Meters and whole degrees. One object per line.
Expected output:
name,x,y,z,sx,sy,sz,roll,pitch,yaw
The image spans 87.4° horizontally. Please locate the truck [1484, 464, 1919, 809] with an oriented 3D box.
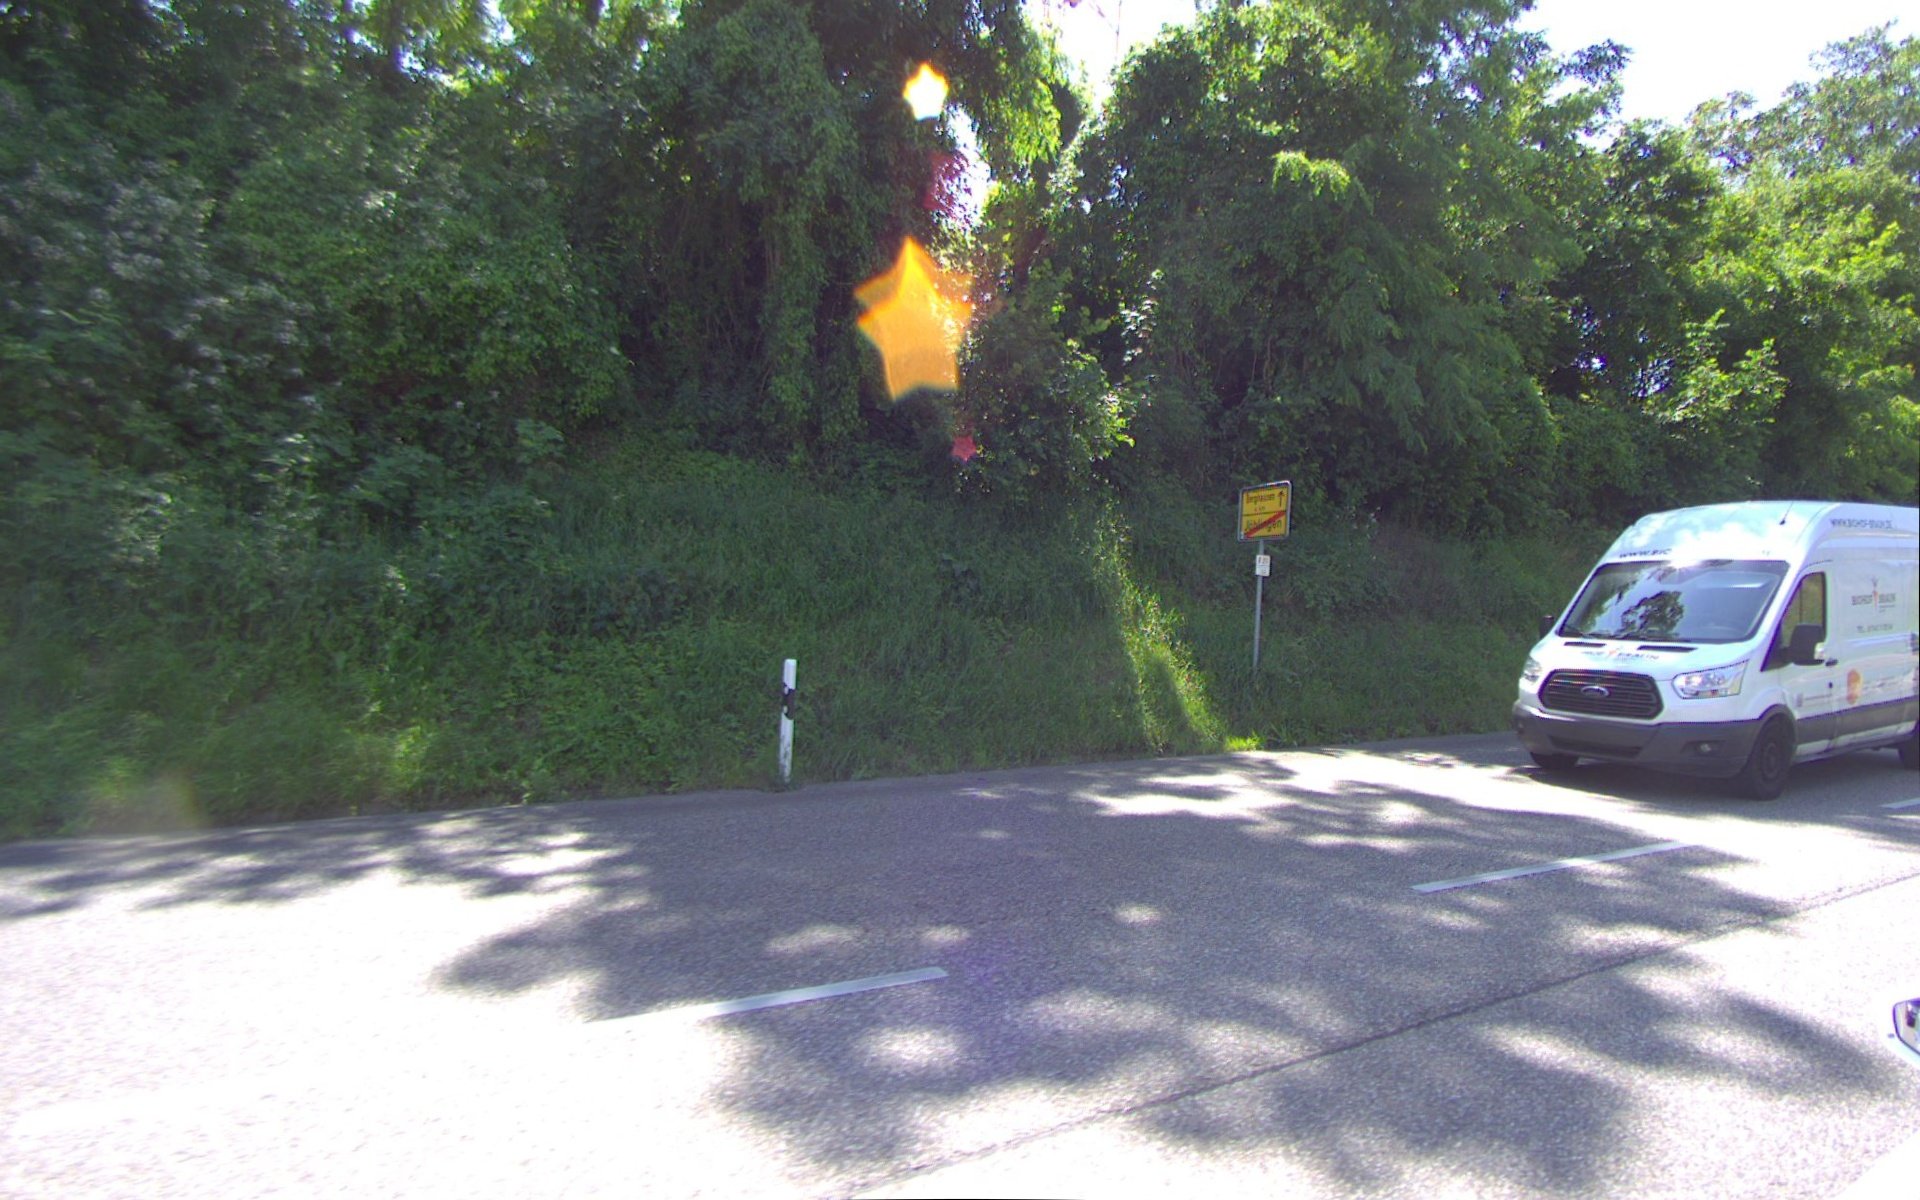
truck,8.113,0.337,10.340,5.912,2.722,2.043,1,-1,-31
